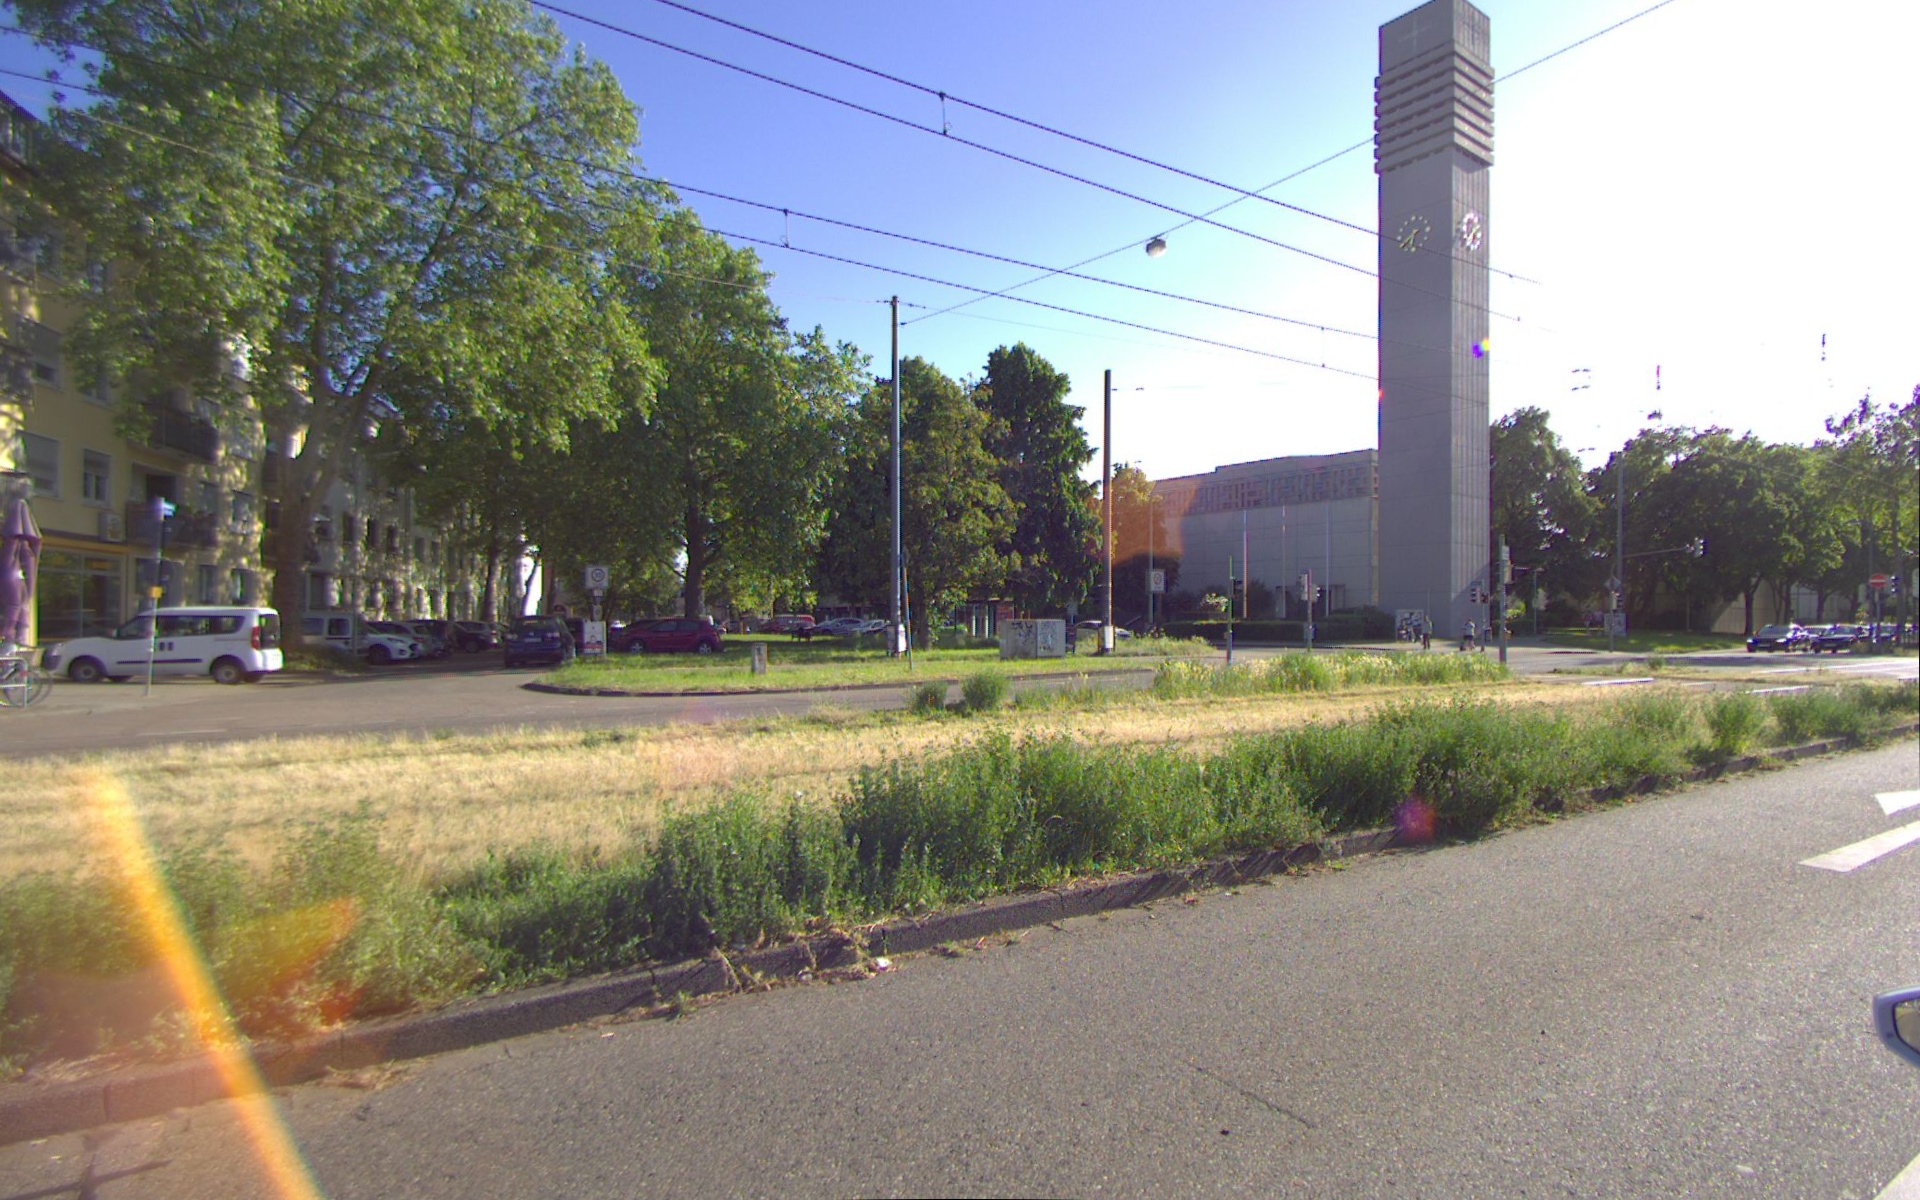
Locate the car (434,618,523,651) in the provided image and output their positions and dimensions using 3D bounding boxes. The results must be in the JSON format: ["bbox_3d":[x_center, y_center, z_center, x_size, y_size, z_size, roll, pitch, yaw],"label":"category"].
[{"bbox_3d":[-26.249,1.901,54.843,3.992,1.687,1.995,1,-2,-14],"label":"car"}]

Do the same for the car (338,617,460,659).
[{"bbox_3d":[-22.841,1.574,41.066,3.932,1.635,1.877,1,-3,-14],"label":"car"}]

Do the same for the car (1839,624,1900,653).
[{"bbox_3d":[50.175,2.100,55.411,3.874,1.421,1.556,1,1,-34],"label":"car"}]

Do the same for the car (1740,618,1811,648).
[{"bbox_3d":[43.881,1.743,54.051,4.315,1.553,1.796,1,-1,-34],"label":"car"}]

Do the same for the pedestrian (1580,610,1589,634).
[{"bbox_3d":[43.174,1.519,69.457,0.302,1.581,0.432,0,2,-37],"label":"pedestrian"}]

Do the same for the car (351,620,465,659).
[{"bbox_3d":[-23.876,1.729,43.608,3.932,1.635,1.877,1,-3,-14],"label":"car"}]

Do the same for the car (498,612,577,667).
[{"bbox_3d":[-13.270,1.190,31.725,1.720,1.622,3.988,0,-1,-15],"label":"car"}]

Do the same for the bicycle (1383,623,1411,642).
[{"bbox_3d":[25.358,1.887,58.241,1.661,1.060,0.489,1,1,-27],"label":"bicycle"}]

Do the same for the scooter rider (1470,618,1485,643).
[{"bbox_3d":[26.183,1.523,50.812,0.519,1.234,0.584,3,2,41],"label":"scooter rider"}]

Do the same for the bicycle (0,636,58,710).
[{"bbox_3d":[-16.216,1.208,16.467,0.509,1.200,2.089,2,-1,22],"label":"bicycle"}]

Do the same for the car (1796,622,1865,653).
[{"bbox_3d":[45.244,1.901,52.183,4.315,1.553,1.677,1,-1,-34],"label":"car"}]

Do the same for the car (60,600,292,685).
[{"bbox_3d":[-18.693,1.002,24.175,3.939,1.851,1.991,1,1,-20],"label":"car"}]

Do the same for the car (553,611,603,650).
[{"bbox_3d":[-17.679,1.397,46.652,1.720,1.706,3.988,0,-1,-15],"label":"car"}]

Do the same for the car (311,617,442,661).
[{"bbox_3d":[-22.451,1.520,38.797,3.932,1.590,1.877,1,-3,-14],"label":"car"}]

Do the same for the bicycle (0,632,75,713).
[{"bbox_3d":[-15.721,1.186,16.230,0.509,1.268,2.089,2,0,22],"label":"bicycle"}]

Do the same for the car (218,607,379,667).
[{"bbox_3d":[-21.761,1.240,33.233,3.932,1.867,1.995,1,-3,-14],"label":"car"}]

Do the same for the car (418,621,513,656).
[{"bbox_3d":[-25.329,1.975,51.576,3.992,1.687,1.995,1,-2,-14],"label":"car"}]

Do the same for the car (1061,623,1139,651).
[{"bbox_3d":[8.612,2.237,62.002,1.983,1.420,4.665,1,2,-39],"label":"car"}]

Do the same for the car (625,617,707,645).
[{"bbox_3d":[-14.919,1.555,51.096,3.936,1.400,1.580,0,-1,-17],"label":"car"}]

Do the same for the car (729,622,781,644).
[{"bbox_3d":[-17.052,2.715,83.583,3.958,1.795,1.657,1,-1,-34],"label":"car"}]

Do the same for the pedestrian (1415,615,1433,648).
[{"bbox_3d":[24.210,1.631,52.386,0.736,1.689,0.442,1,2,-24],"label":"pedestrian"}]

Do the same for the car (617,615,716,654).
[{"bbox_3d":[-11.344,1.331,38.959,3.588,1.399,1.640,1,1,-16],"label":"car"}]

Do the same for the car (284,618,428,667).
[{"bbox_3d":[-21.734,1.551,36.334,3.992,1.687,1.995,1,-2,-14],"label":"car"}]

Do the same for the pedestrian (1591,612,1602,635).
[{"bbox_3d":[43.602,1.591,68.819,0.484,1.527,0.432,0,2,-37],"label":"pedestrian"}]

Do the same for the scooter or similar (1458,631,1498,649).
[{"bbox_3d":[26.193,2.010,50.809,1.715,0.911,0.560,-1,-1,42],"label":"scooter or similar"}]
